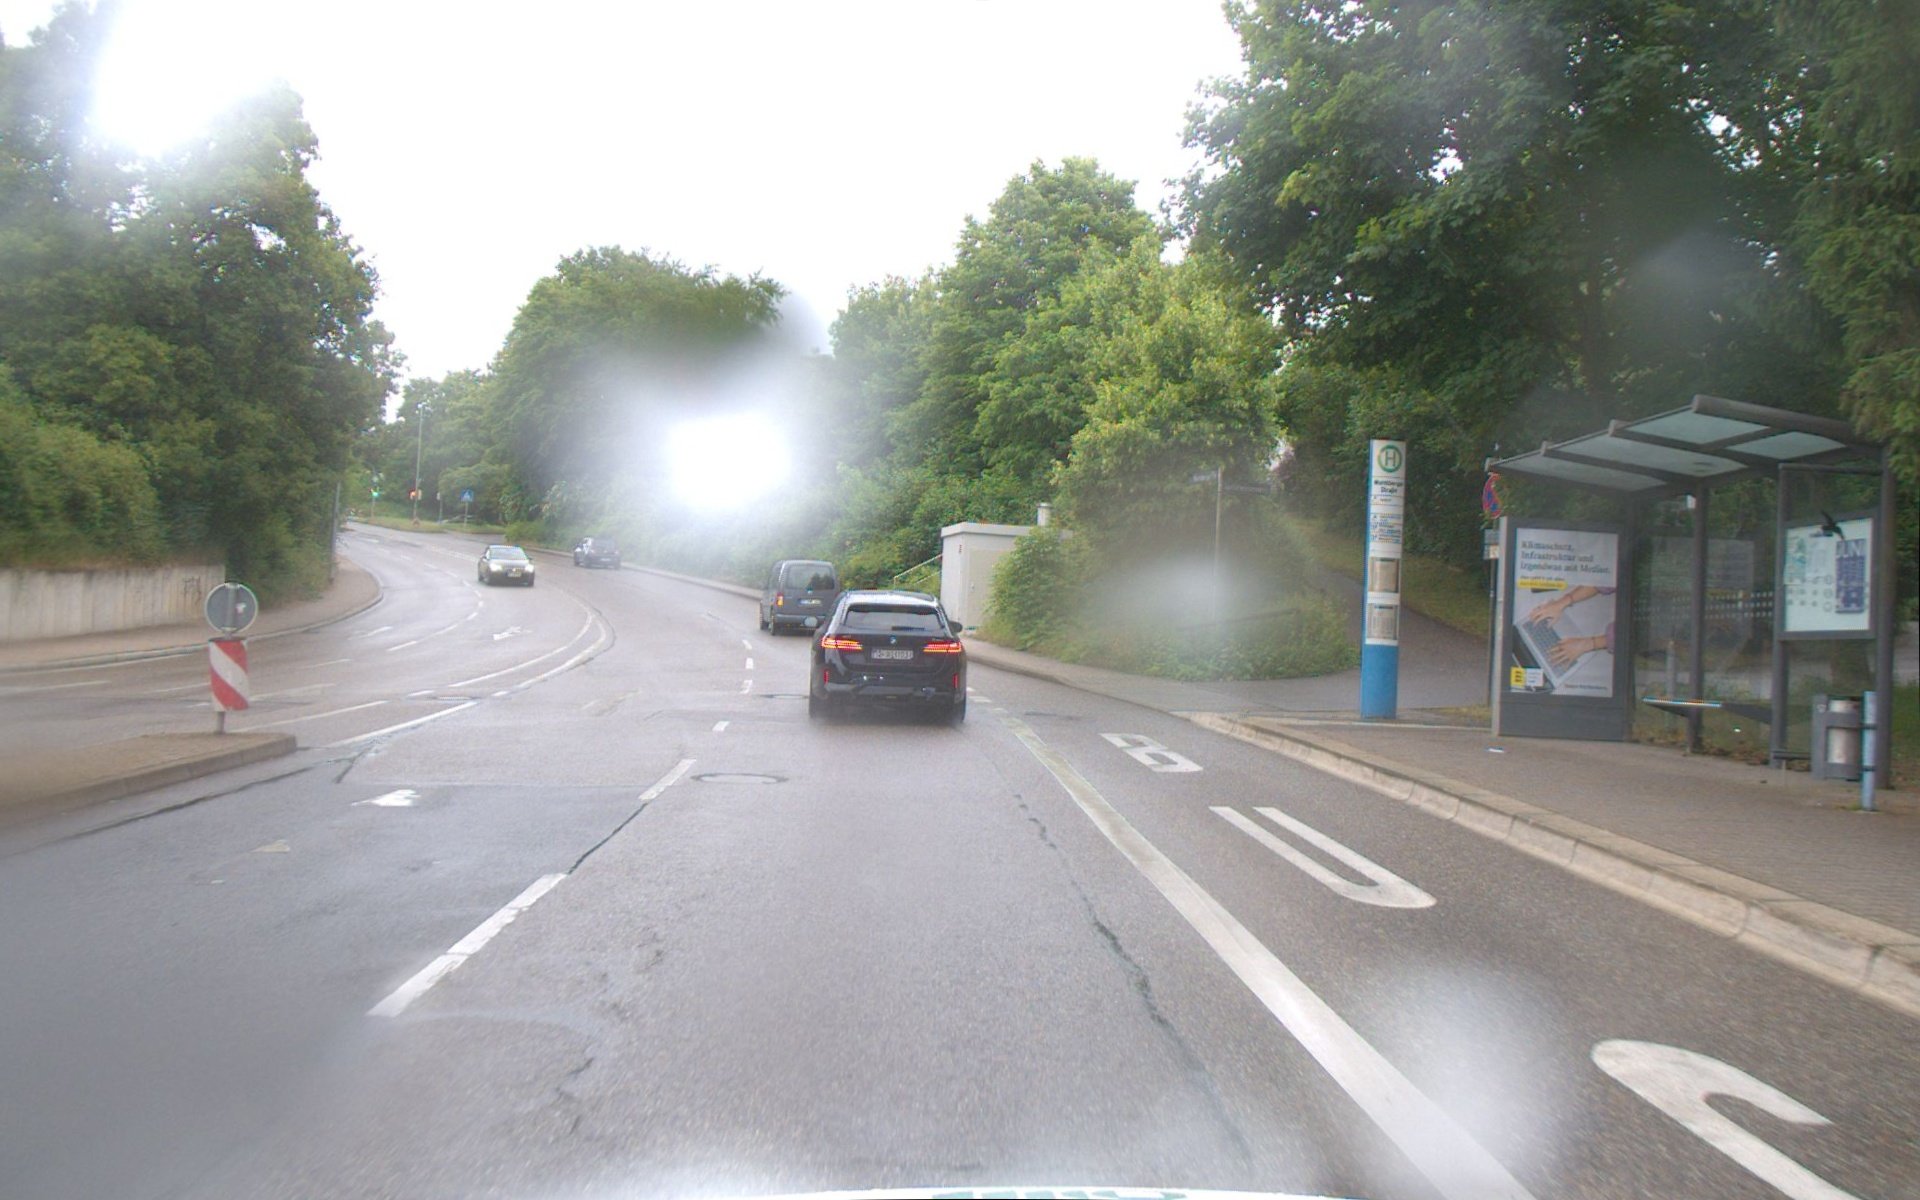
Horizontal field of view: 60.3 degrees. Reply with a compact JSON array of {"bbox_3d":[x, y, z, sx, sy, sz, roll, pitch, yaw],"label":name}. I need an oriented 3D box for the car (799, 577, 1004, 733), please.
[{"bbox_3d":[-0.861,0.585,20.542,1.957,1.613,4.654,3,1,-9],"label":"car"}]

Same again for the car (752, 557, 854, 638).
[{"bbox_3d":[-4.048,-0.106,42.096,1.960,1.778,3.986,1,3,-15],"label":"car"}]

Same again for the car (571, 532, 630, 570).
[{"bbox_3d":[-17.721,-2.371,81.406,1.829,1.691,3.965,3,-1,-27],"label":"car"}]

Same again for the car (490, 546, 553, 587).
[{"bbox_3d":[-17.159,-1.298,64.635,1.866,1.513,4.206,1,1,-22],"label":"car"}]
